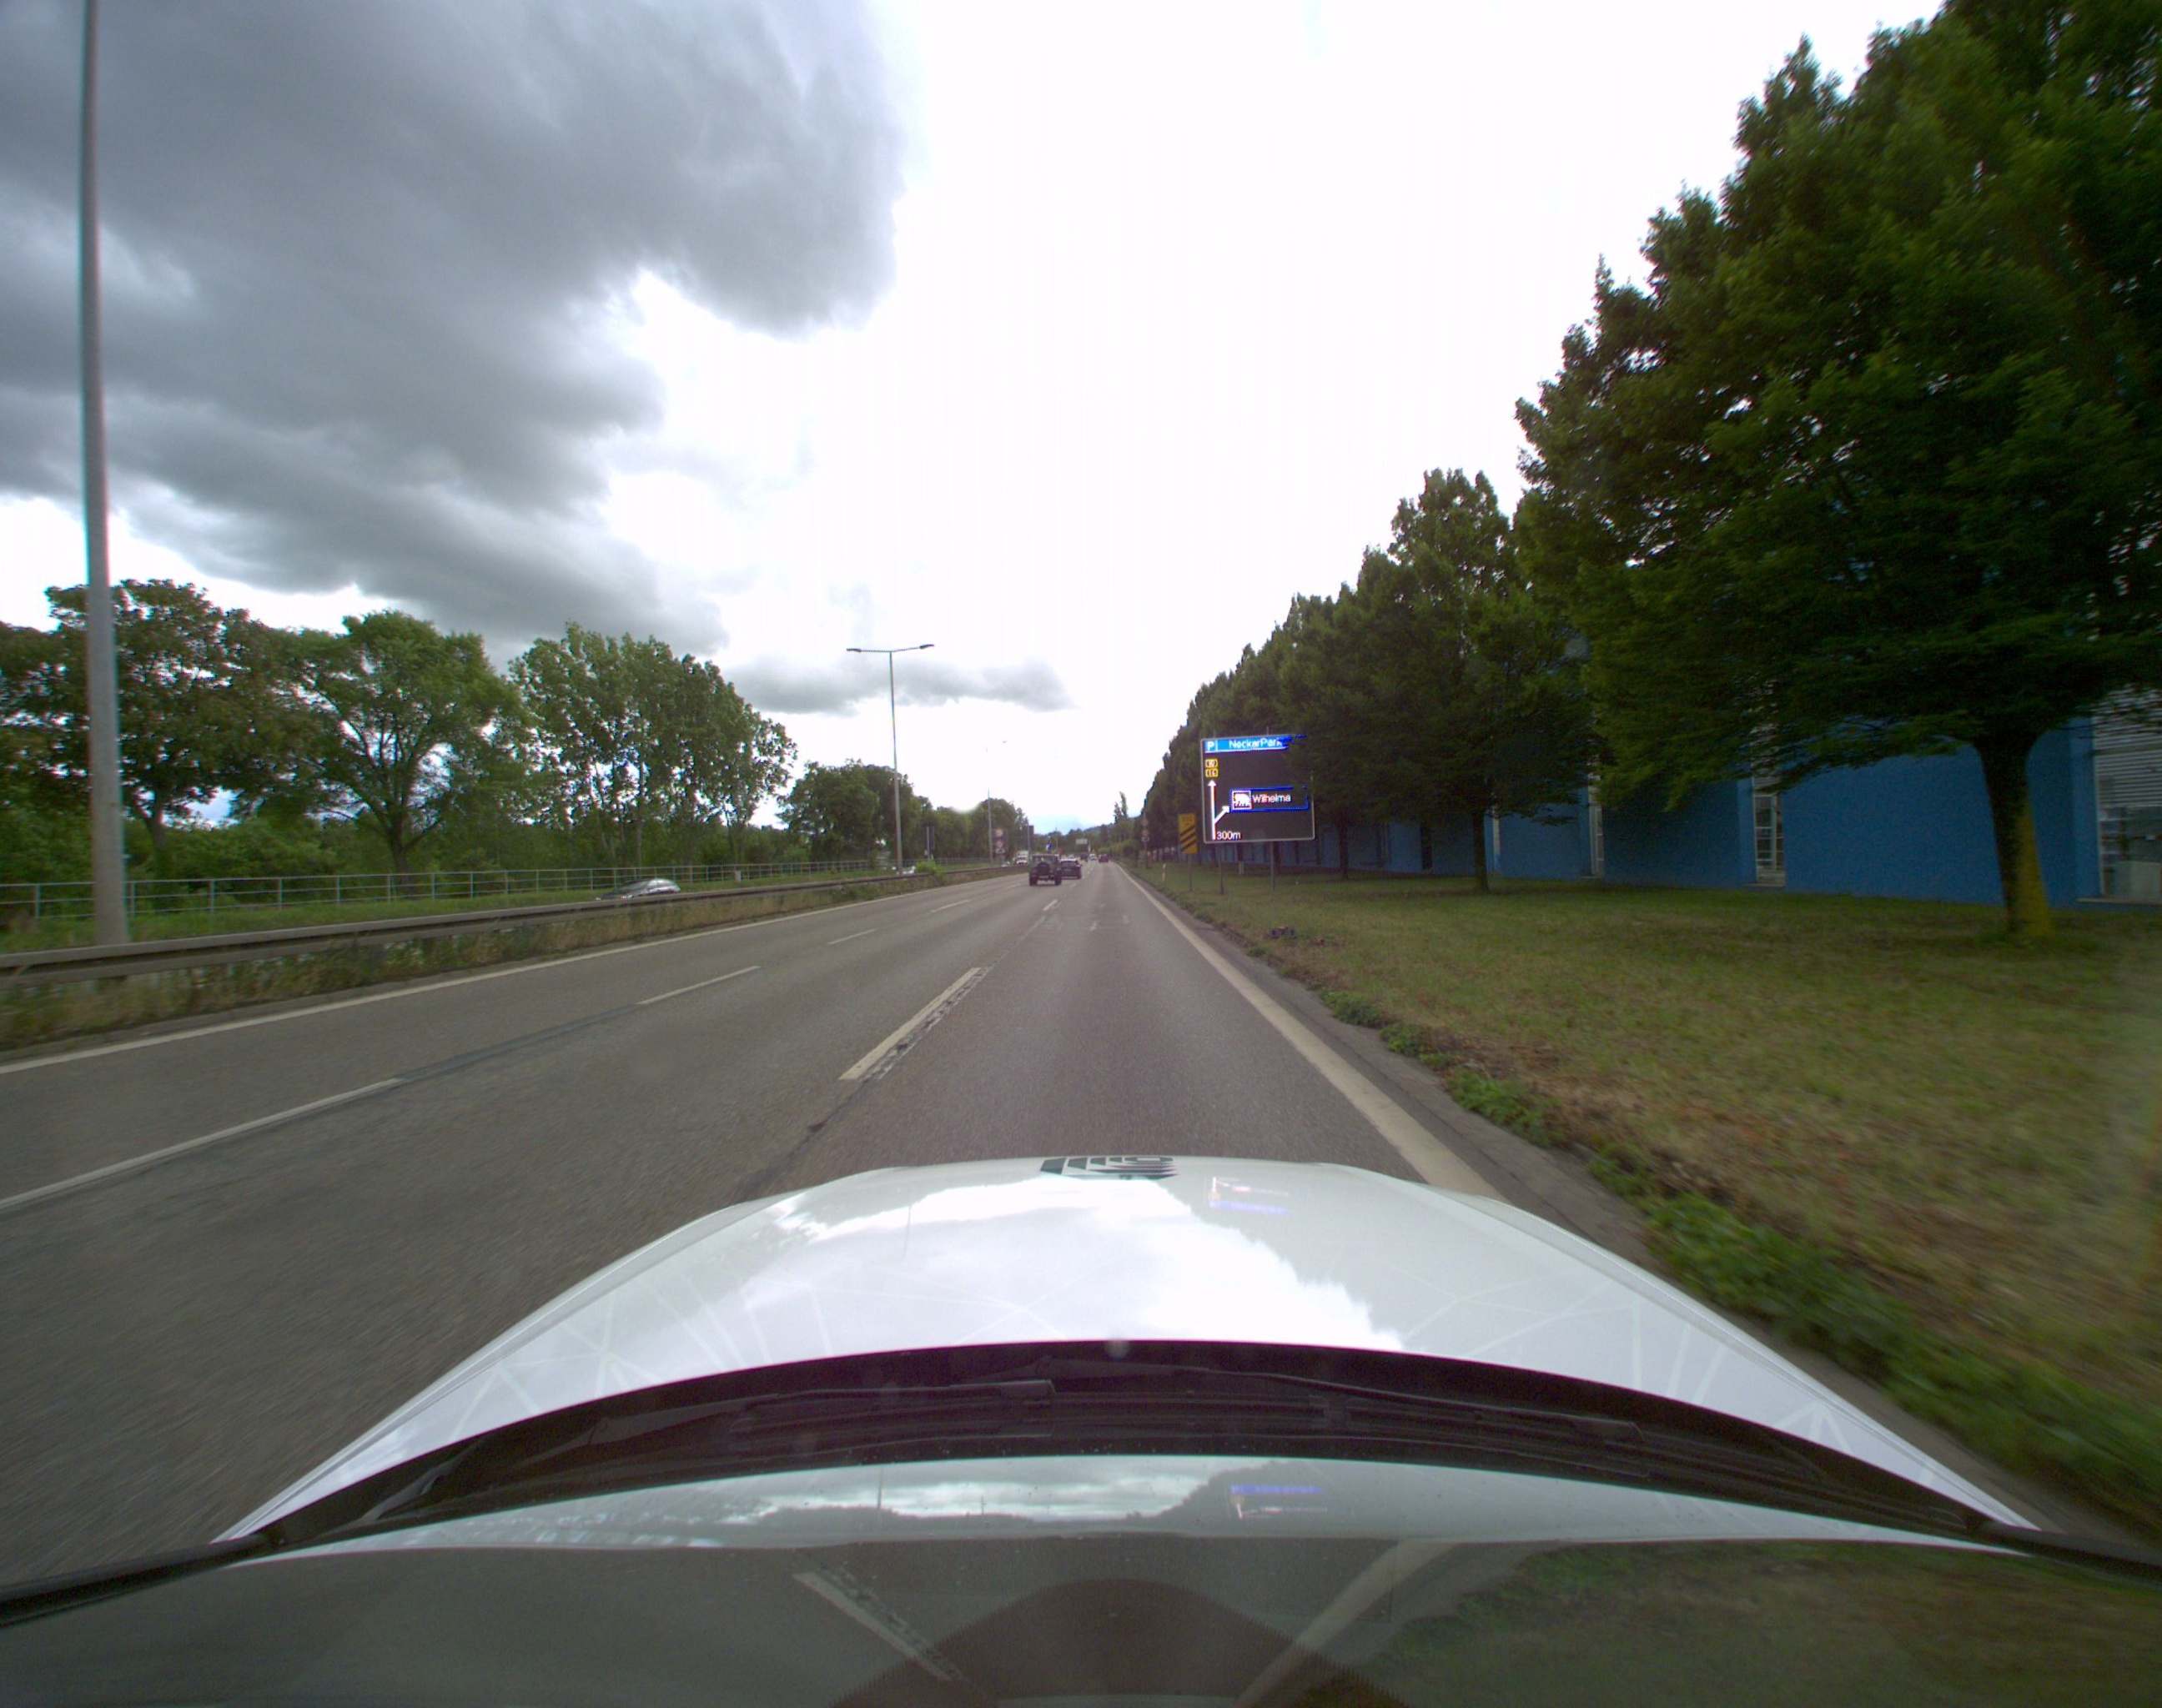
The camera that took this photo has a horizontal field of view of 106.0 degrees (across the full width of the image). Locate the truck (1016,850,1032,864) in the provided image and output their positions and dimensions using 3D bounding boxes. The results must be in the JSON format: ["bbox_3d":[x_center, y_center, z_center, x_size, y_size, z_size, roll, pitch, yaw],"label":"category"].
[{"bbox_3d":[-15.296,0.840,219.405,2.876,3.578,9.597,-3,0,4],"label":"truck"}]

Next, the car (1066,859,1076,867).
[{"bbox_3d":[-2.208,1.939,177.239,1.691,1.742,4.396,-4,0,3],"label":"car"}]

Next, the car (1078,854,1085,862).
[{"bbox_3d":[0.150,1.091,222.780,2.006,1.934,4.900,-3,-1,1],"label":"car"}]

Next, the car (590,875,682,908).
[{"bbox_3d":[-20.937,1.728,38.584,1.654,1.299,4.788,-2,0,1],"label":"car"}]

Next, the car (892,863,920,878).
[{"bbox_3d":[-18.935,1.814,88.270,1.871,1.490,4.204,-2,0,2],"label":"car"}]

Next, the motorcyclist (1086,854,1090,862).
[{"bbox_3d":[1.564,0.883,173.146,0.788,1.760,0.923,-2,0,2],"label":"motorcyclist"}]

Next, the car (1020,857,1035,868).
[{"bbox_3d":[-10.759,1.670,162.878,2.216,1.948,5.479,-3,0,4],"label":"car"}]

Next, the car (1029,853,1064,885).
[{"bbox_3d":[-1.894,0.819,45.635,1.691,1.686,4.002,0,0,2],"label":"car"}]

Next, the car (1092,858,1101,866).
[{"bbox_3d":[3.243,1.741,175.086,1.690,1.742,4.397,-3,-1,3],"label":"car"}]

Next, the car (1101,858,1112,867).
[{"bbox_3d":[4.738,1.596,153.060,1.968,1.423,4.900,-3,-1,1],"label":"car"}]

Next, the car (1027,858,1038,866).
[{"bbox_3d":[-11.141,1.931,187.093,1.870,1.725,4.151,-2,0,4],"label":"car"}]

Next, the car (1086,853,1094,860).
[{"bbox_3d":[2.721,0.887,245.885,2.005,1.934,4.903,-3,-1,3],"label":"car"}]

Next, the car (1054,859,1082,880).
[{"bbox_3d":[-0.915,1.103,59.702,1.839,1.423,4.900,-3,-1,1],"label":"car"}]

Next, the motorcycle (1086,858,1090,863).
[{"bbox_3d":[1.578,1.376,173.156,0.788,1.219,2.331,-2,0,2],"label":"motorcycle"}]

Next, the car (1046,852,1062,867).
[{"bbox_3d":[-3.168,0.656,95.898,1.692,1.742,4.000,0,0,1],"label":"car"}]

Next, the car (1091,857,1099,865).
[{"bbox_3d":[3.587,1.697,207.399,2.006,1.934,4.900,-3,-1,1],"label":"car"}]
